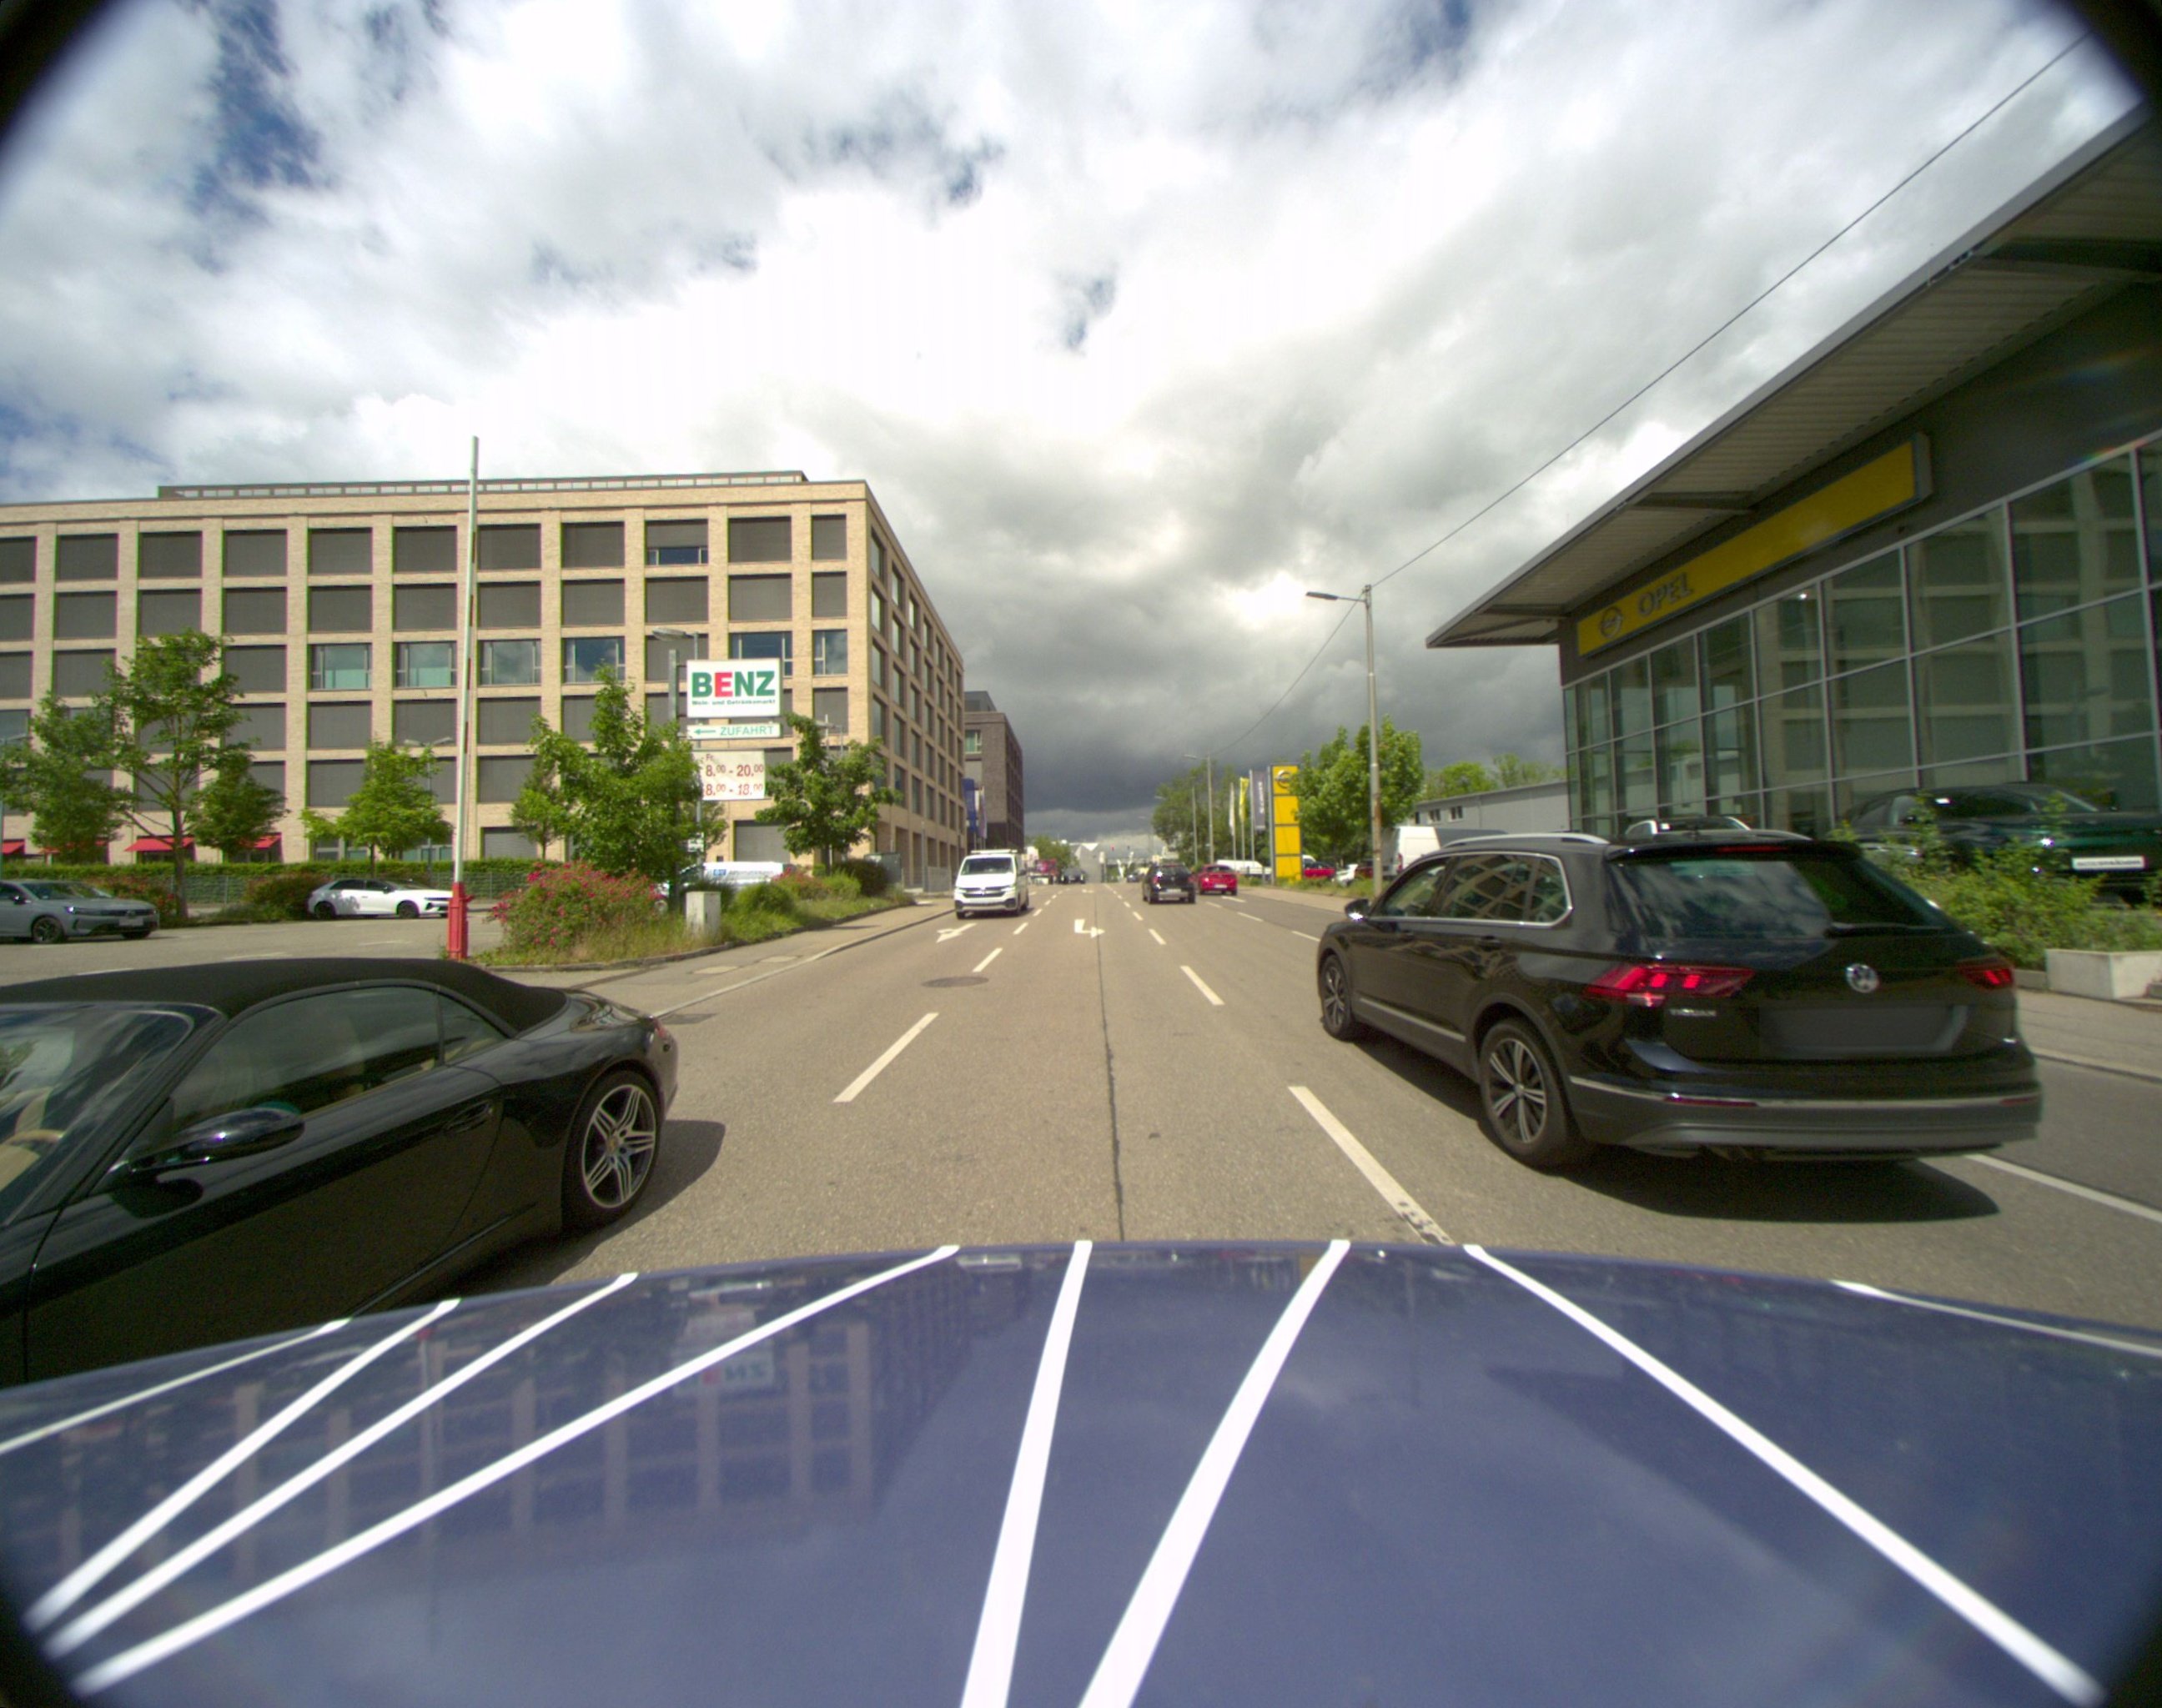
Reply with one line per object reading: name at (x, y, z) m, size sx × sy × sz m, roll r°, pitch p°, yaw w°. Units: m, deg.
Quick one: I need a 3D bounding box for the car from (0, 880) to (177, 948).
car at (-23.477, 1.346, 17.232) m, size 3.997 × 1.401 × 1.600 m, roll -1°, pitch 0°, yaw -1°

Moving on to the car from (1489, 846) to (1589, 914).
car at (12.035, 0.617, 20.218) m, size 1.794 × 1.604 × 4.116 m, roll -1°, pitch 0°, yaw 24°

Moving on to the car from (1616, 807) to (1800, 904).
car at (11.965, 0.011, 14.828) m, size 1.793 × 1.604 × 4.115 m, roll -1°, pitch 1°, yaw 25°

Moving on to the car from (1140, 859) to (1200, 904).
car at (3.234, 0.971, 28.174) m, size 1.731 × 1.494 × 3.438 m, roll -1°, pitch 0°, yaw -1°

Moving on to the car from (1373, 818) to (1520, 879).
car at (13.833, -0.209, 28.929) m, size 4.531 × 2.182 × 2.179 m, roll -1°, pitch 1°, yaw -1°

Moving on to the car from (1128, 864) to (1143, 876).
car at (7.371, 2.193, 103.812) m, size 1.731 × 1.494 × 3.753 m, roll -1°, pitch 0°, yaw -1°

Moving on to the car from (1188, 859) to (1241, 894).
car at (6.213, 1.034, 35.756) m, size 1.731 × 1.494 × 3.753 m, roll -1°, pitch 0°, yaw -1°

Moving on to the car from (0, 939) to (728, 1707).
car at (-3.044, 1.166, 2.161) m, size 1.777 × 1.267 × 4.569 m, roll -3°, pitch 0°, yaw 2°

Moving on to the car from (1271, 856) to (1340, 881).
car at (13.560, 0.869, 46.066) m, size 3.669 × 1.401 × 1.815 m, roll -1°, pitch 0°, yaw 2°

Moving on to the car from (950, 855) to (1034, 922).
car at (-2.693, 0.989, 24.120) m, size 1.964 × 1.840 × 4.645 m, roll -3°, pitch 0°, yaw 1°

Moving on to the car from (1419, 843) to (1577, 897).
car at (13.150, 0.483, 24.078) m, size 4.108 × 1.604 × 1.797 m, roll -1°, pitch 0°, yaw -8°

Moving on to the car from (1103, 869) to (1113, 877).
car at (5.485, 3.868, 154.472) m, size 1.731 × 1.494 × 3.753 m, roll -1°, pitch 0°, yaw -1°

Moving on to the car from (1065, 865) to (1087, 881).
car at (-0.426, 1.685, 67.878) m, size 1.777 × 1.267 × 4.569 m, roll -1°, pitch 0°, yaw 2°

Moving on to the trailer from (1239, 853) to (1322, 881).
trailer at (13.004, 0.850, 49.751) m, size 4.834 × 1.742 × 2.095 m, roll -1°, pitch 0°, yaw -3°

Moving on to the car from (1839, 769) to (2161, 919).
car at (12.106, -0.108, 10.091) m, size 1.817 × 1.604 × 4.117 m, roll -1°, pitch 0°, yaw 29°

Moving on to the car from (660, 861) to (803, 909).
car at (-12.223, 1.076, 26.766) m, size 4.220 × 1.567 × 1.735 m, roll -1°, pitch 0°, yaw -4°

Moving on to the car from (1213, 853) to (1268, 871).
car at (13.726, 0.645, 65.629) m, size 4.252 × 1.473 × 2.095 m, roll -1°, pitch 0°, yaw -2°

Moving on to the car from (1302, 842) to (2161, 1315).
car at (2.914, 0.789, 4.717) m, size 1.797 × 1.604 × 4.108 m, roll -1°, pitch 0°, yaw -1°

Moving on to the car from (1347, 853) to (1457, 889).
car at (15.239, 0.799, 36.253) m, size 4.413 × 1.604 × 1.925 m, roll -1°, pitch 0°, yaw -1°

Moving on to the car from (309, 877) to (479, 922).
car at (-23.558, 1.546, 26.162) m, size 4.219 × 1.410 × 1.735 m, roll -1°, pitch 0°, yaw -1°

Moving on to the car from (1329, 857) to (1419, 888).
car at (14.796, 0.915, 38.432) m, size 3.946 × 1.518 × 1.561 m, roll -1°, pitch 0°, yaw -2°
